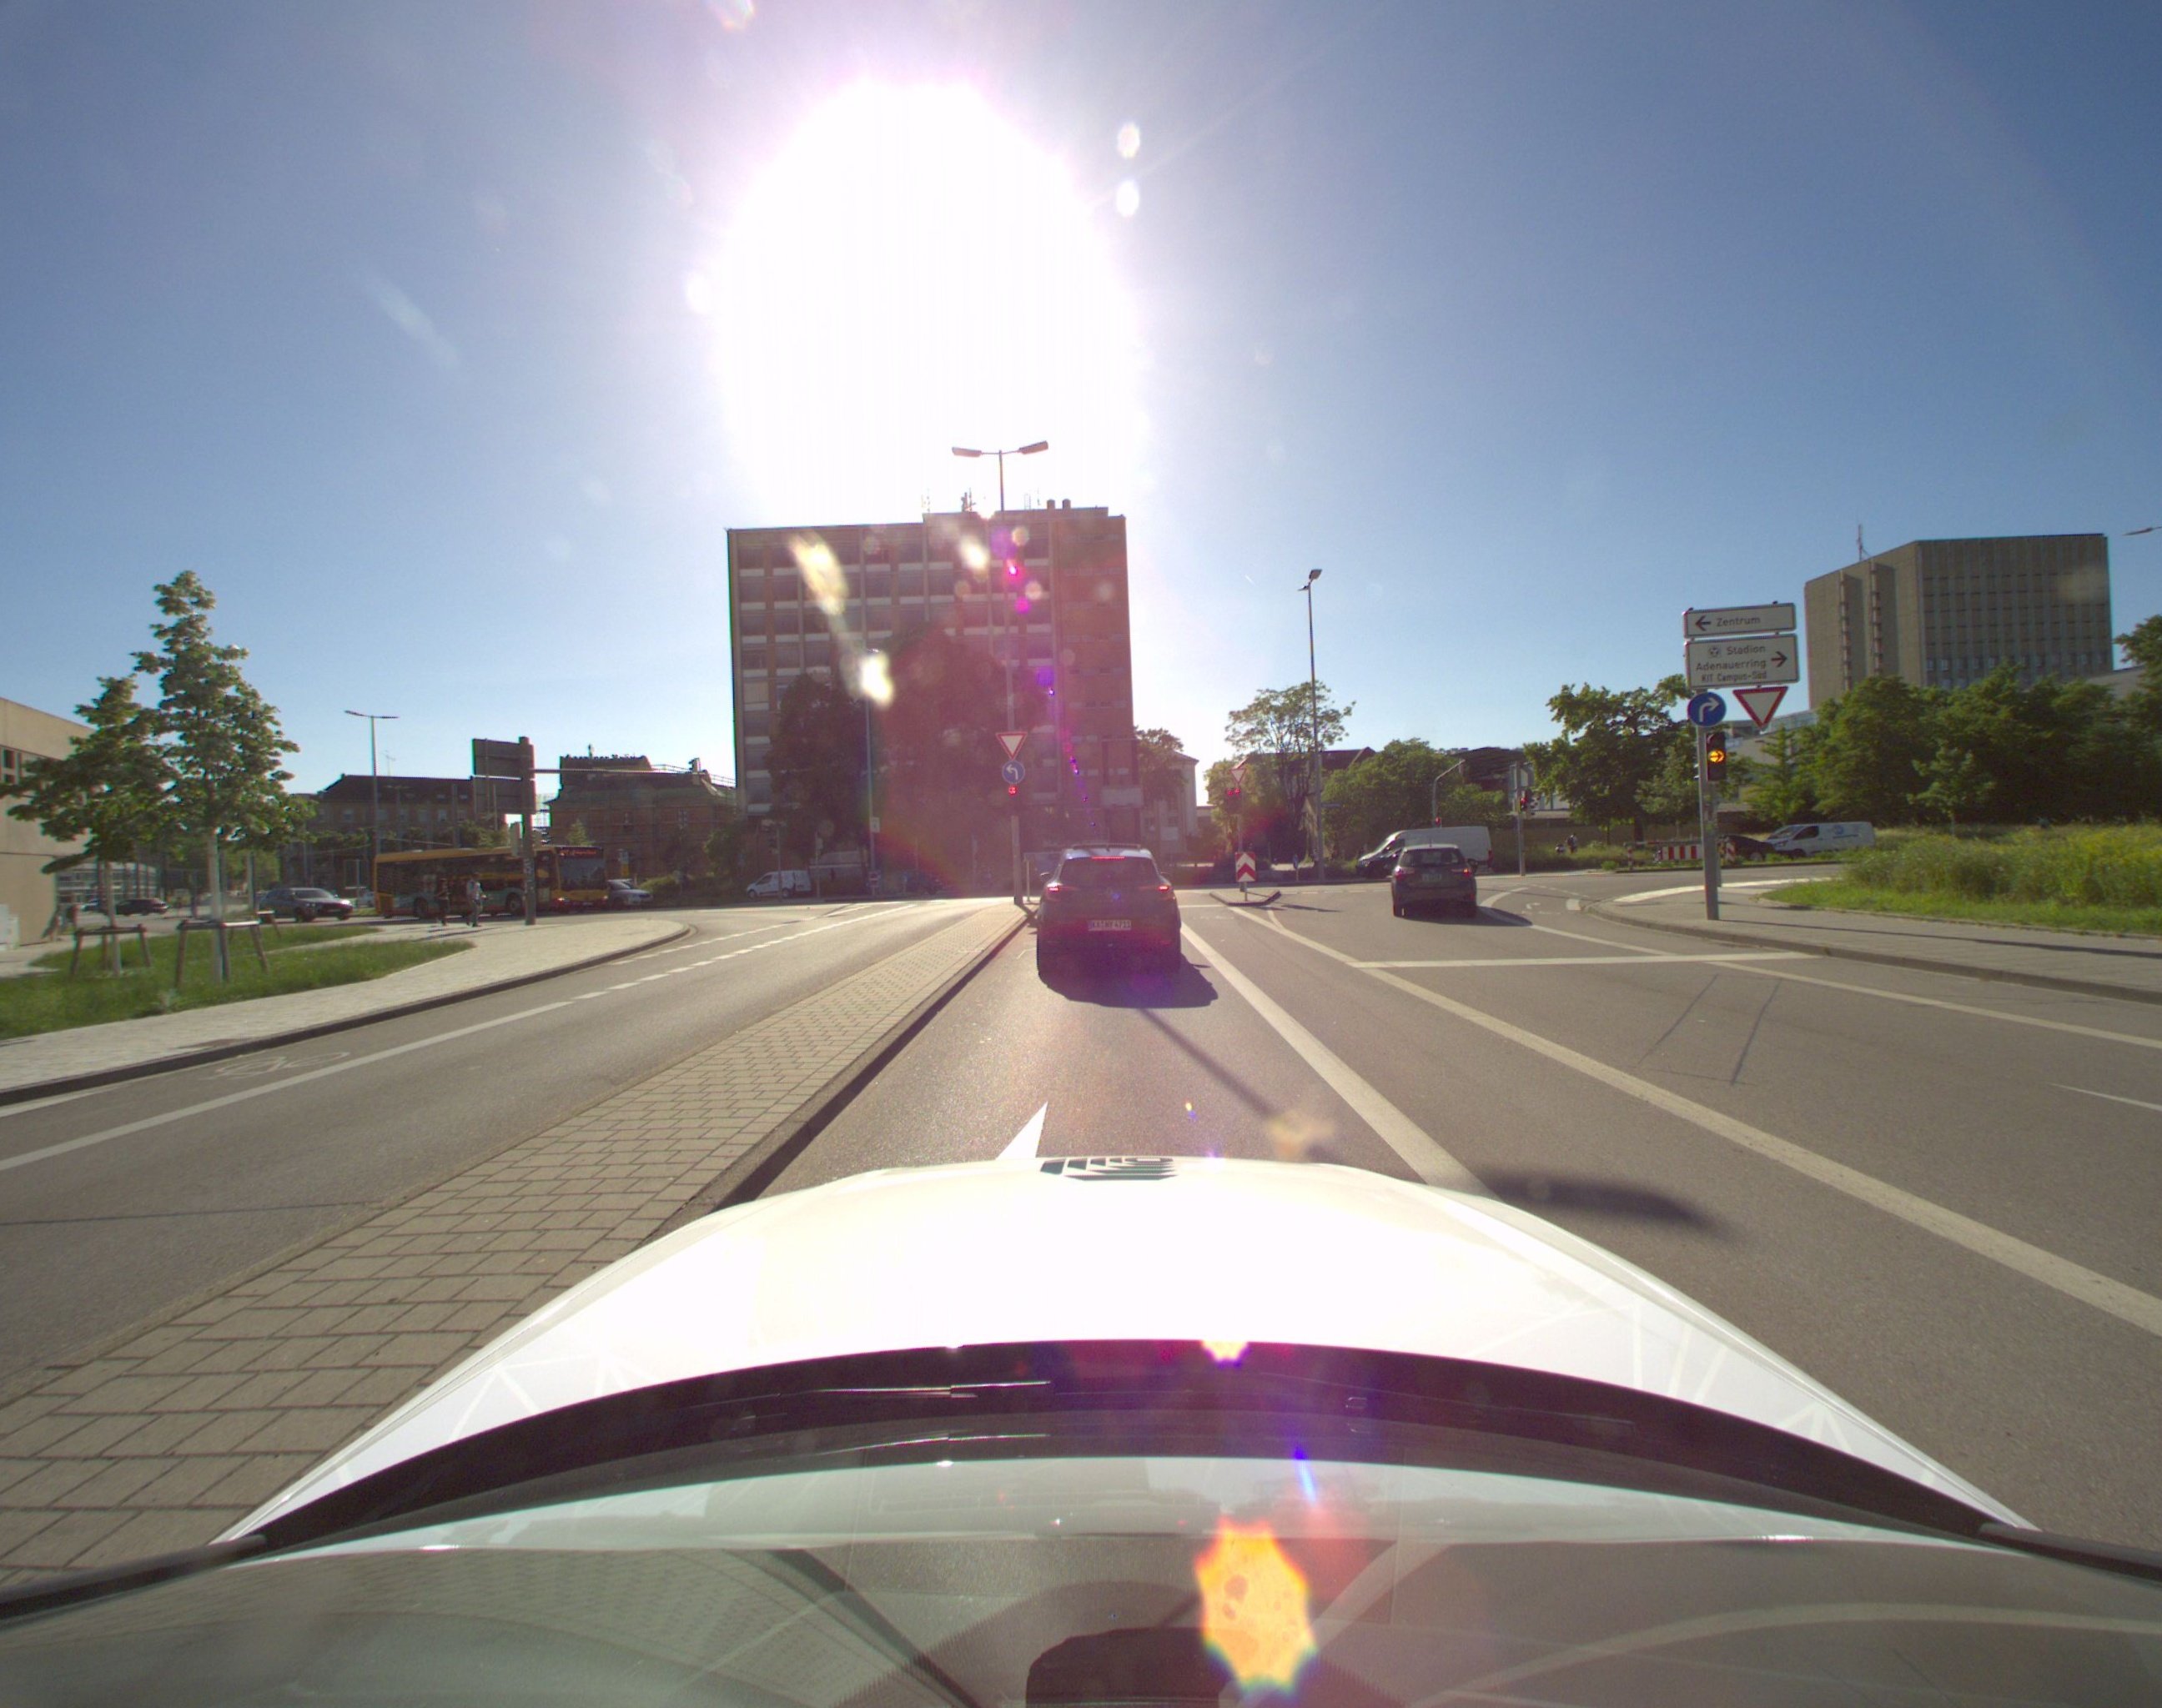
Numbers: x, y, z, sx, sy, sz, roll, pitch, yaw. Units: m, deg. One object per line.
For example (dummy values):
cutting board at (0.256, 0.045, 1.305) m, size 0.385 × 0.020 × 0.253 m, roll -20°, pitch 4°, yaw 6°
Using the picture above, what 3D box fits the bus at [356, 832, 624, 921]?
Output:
bus at (-27.145, 1.077, 37.312) m, size 12.321 × 3.570 × 3.266 m, roll -2°, pitch 0°, yaw 19°

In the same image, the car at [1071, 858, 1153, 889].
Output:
car at (1.691, 1.011, 42.946) m, size 4.020 × 1.439 × 2.071 m, roll -2°, pitch 0°, yaw 9°

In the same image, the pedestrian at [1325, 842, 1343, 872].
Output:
pedestrian at (15.974, 0.193, 51.388) m, size 0.926 × 1.855 × 0.809 m, roll -2°, pitch 0°, yaw 10°

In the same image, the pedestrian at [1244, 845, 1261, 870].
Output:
pedestrian at (14.275, 0.282, 67.682) m, size 1.152 × 2.013 × 1.165 m, roll -2°, pitch 0°, yaw 1°

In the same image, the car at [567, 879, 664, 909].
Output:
car at (-22.206, 1.915, 38.878) m, size 3.814 × 1.403 × 1.900 m, roll -1°, pitch -3°, yaw 17°

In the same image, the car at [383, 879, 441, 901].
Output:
car at (-50.298, 2.706, 61.226) m, size 3.771 × 1.518 × 2.012 m, roll -2°, pitch 0°, yaw 27°

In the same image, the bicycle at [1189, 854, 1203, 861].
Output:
bicycle at (15.102, 0.431, 106.767) m, size 1.764 × 0.893 × 0.766 m, roll -2°, pitch 0°, yaw 1°

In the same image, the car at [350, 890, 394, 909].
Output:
car at (-65.648, 4.160, 75.419) m, size 3.948 × 1.582 × 2.013 m, roll -1°, pitch 0°, yaw 33°

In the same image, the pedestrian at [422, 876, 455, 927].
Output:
pedestrian at (-21.961, 1.607, 27.831) m, size 0.627 × 1.697 × 0.608 m, roll -2°, pitch 0°, yaw 24°

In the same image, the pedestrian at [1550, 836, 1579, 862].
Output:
pedestrian at (29.561, -0.309, 49.812) m, size 1.123 × 1.520 × 0.992 m, roll -2°, pitch 0°, yaw 5°

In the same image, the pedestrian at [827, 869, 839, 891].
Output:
pedestrian at (-18.390, 1.918, 60.384) m, size 0.528 × 1.571 × 0.559 m, roll -2°, pitch 0°, yaw 26°

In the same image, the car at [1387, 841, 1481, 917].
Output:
car at (7.890, 0.484, 18.393) m, size 1.722 × 1.516 × 4.021 m, roll -1°, pitch 0°, yaw 22°

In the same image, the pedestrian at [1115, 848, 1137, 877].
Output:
pedestrian at (3.016, 0.568, 54.473) m, size 1.288 × 1.855 × 0.969 m, roll -2°, pitch 0°, yaw 13°

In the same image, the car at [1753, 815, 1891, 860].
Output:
car at (37.582, -0.812, 41.417) m, size 4.979 × 2.013 × 2.074 m, roll -2°, pitch 0°, yaw 2°

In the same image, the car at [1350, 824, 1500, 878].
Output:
car at (18.300, -0.171, 43.786) m, size 6.893 × 2.547 × 3.021 m, roll -2°, pitch 0°, yaw 9°

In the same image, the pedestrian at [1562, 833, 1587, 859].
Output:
pedestrian at (29.582, -0.476, 48.859) m, size 0.966 × 1.520 × 0.886 m, roll -2°, pitch 0°, yaw 5°

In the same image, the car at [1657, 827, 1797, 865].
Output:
car at (30.729, -0.357, 38.886) m, size 4.817 × 1.581 × 2.105 m, roll -2°, pitch 0°, yaw 6°

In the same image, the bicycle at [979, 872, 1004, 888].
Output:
bicycle at (-5.695, 1.649, 51.958) m, size 0.692 × 1.007 × 1.878 m, roll -4°, pitch -3°, yaw 22°

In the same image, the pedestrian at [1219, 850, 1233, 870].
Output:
pedestrian at (11.888, 0.460, 66.708) m, size 0.932 × 1.613 × 1.176 m, roll -2°, pitch 0°, yaw 1°

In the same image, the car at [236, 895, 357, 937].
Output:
car at (-40.295, 3.157, 41.884) m, size 4.697 × 1.861 × 2.010 m, roll -2°, pitch 0°, yaw 10°

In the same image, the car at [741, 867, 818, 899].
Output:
car at (-19.600, 1.873, 52.992) m, size 4.137 × 1.881 × 2.225 m, roll -2°, pitch 0°, yaw 18°

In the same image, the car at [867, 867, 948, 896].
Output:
car at (-9.664, 1.525, 45.557) m, size 3.877 × 1.448 × 2.107 m, roll -2°, pitch 0°, yaw 9°

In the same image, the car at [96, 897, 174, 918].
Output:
car at (-83.338, 4.709, 71.838) m, size 4.011 × 1.582 × 1.981 m, roll 0°, pitch 0°, yaw -29°

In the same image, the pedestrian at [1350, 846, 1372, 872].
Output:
pedestrian at (16.918, 0.322, 49.199) m, size 1.069 × 1.520 × 0.880 m, roll -2°, pitch 0°, yaw 6°

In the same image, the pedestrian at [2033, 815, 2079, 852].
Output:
pedestrian at (55.801, -1.166, 46.634) m, size 1.225 × 2.079 × 1.084 m, roll -2°, pitch 0°, yaw 5°

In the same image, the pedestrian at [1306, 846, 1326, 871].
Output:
pedestrian at (14.702, 0.249, 51.025) m, size 1.078 × 1.520 × 0.933 m, roll -2°, pitch 0°, yaw 11°

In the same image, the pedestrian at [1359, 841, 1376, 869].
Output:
pedestrian at (18.179, 0.069, 51.651) m, size 0.955 × 1.732 × 0.930 m, roll -2°, pitch 0°, yaw 20°

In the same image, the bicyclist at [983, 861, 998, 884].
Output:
bicyclist at (-5.765, 1.177, 51.900) m, size 0.641 × 1.412 × 0.642 m, roll -4°, pitch -3°, yaw 21°

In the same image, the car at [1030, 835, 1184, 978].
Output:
car at (0.328, 0.601, 11.479) m, size 1.788 × 1.655 × 3.853 m, roll -1°, pitch 0°, yaw 0°

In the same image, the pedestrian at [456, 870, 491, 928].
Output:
pedestrian at (-19.796, 1.454, 26.546) m, size 0.673 × 1.855 × 0.608 m, roll -2°, pitch 0°, yaw 24°

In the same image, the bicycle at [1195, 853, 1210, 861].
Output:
bicycle at (15.276, 0.408, 102.398) m, size 1.764 × 0.898 × 0.766 m, roll -2°, pitch 0°, yaw 1°

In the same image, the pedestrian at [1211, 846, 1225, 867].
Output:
pedestrian at (11.260, 0.202, 67.037) m, size 0.949 × 1.741 × 0.984 m, roll -2°, pitch 0°, yaw 1°

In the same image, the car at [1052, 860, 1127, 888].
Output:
car at (0.519, 1.152, 46.970) m, size 4.022 × 1.439 × 2.070 m, roll -2°, pitch 0°, yaw 8°

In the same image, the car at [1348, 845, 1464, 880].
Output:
car at (15.957, 0.451, 40.259) m, size 5.001 × 1.673 × 2.005 m, roll 0°, pitch -1°, yaw 8°
